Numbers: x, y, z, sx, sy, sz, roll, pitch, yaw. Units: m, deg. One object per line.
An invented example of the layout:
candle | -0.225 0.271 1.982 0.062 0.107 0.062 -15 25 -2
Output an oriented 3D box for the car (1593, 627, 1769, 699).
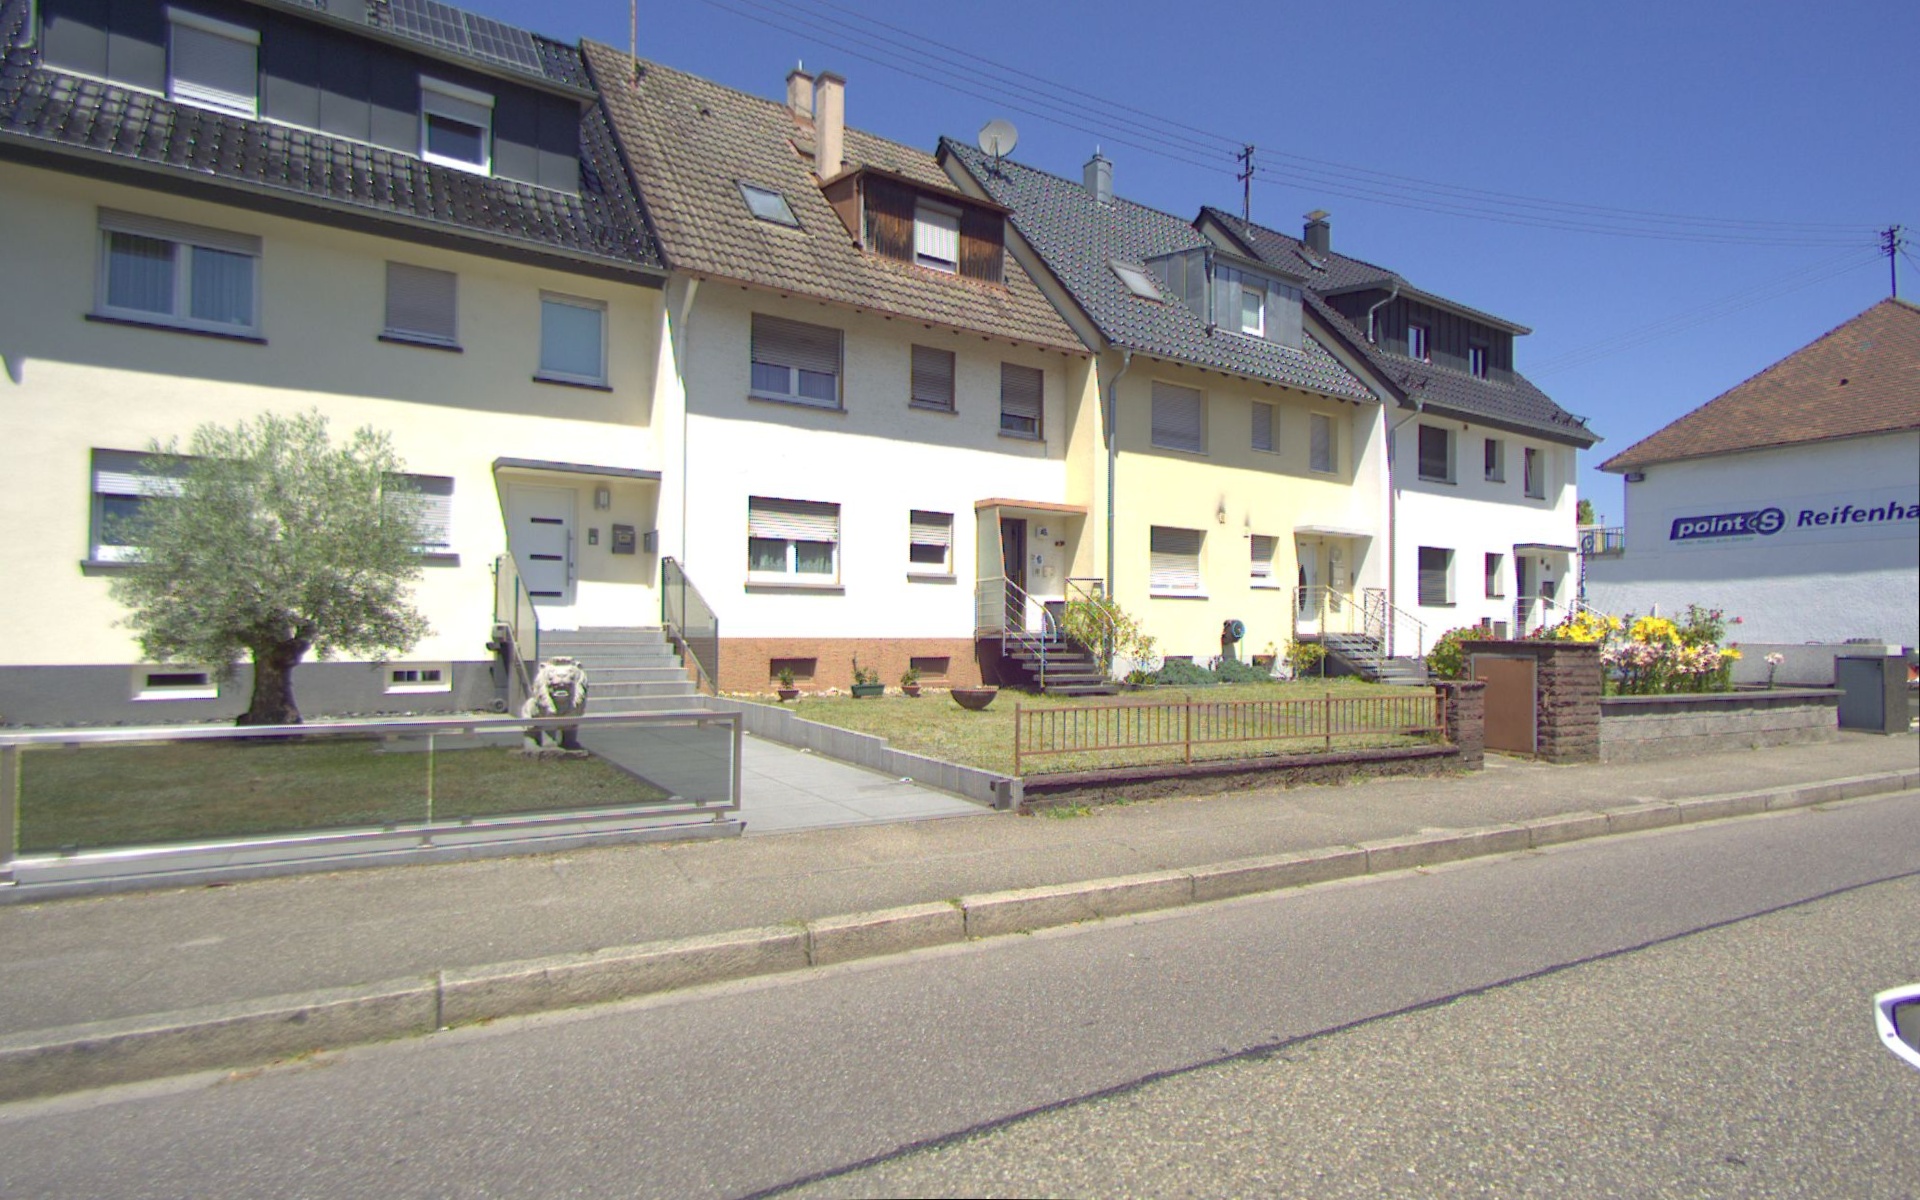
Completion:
car | 17.314 1.457 24.384 1.763 1.530 4.003 1 -1 7

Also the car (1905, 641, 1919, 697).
car | 24.329 1.676 22.911 1.873 1.361 4.145 1 -1 5

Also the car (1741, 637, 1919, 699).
car | 22.298 1.678 25.621 1.797 1.361 4.145 1 -1 5
